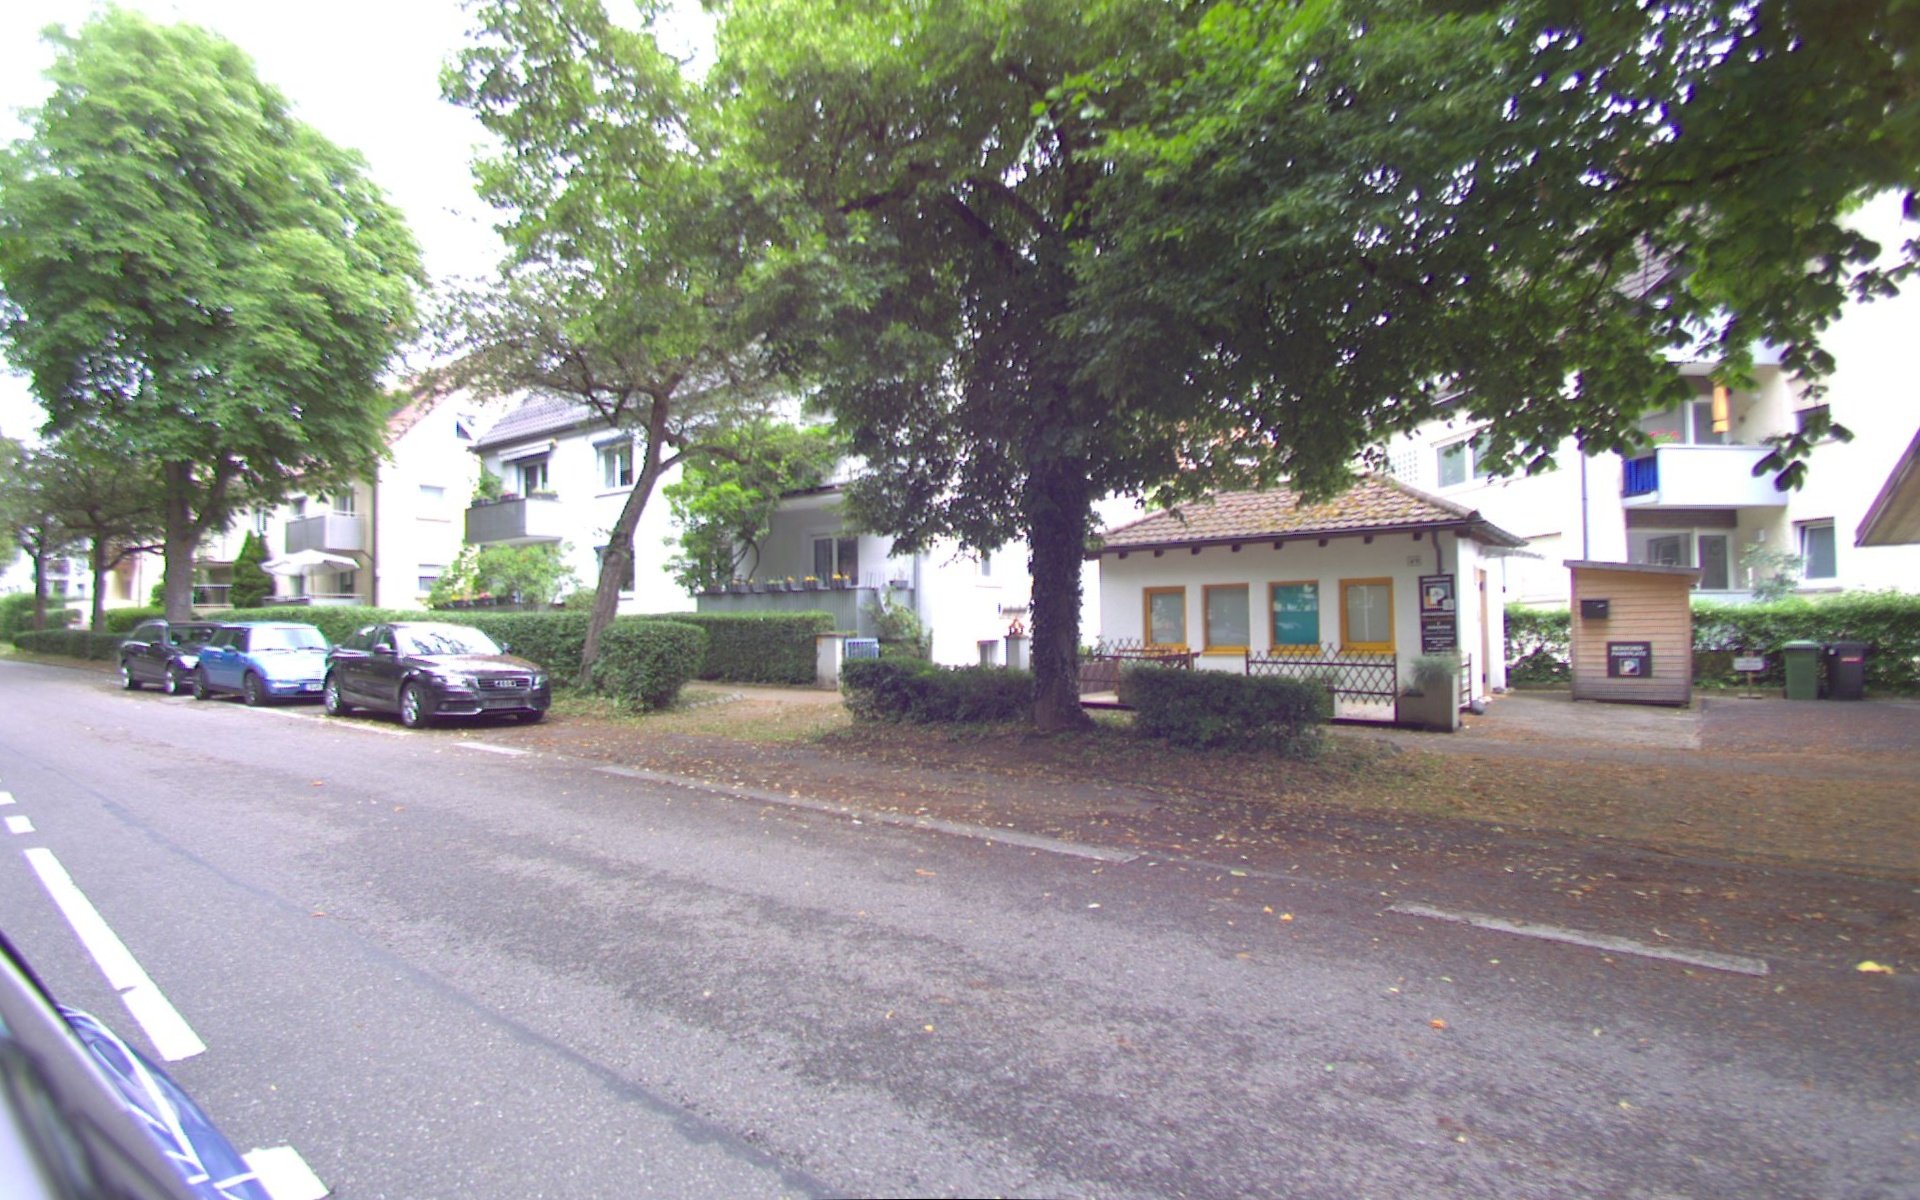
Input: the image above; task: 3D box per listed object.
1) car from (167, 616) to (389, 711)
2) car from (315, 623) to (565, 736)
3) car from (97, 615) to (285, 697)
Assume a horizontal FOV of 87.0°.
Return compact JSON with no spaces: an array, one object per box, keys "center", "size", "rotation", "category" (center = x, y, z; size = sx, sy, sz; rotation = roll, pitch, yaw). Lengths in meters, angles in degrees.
[{"center":[-12.402,1.081,18.310],"size":[4.556,1.512,1.867],"rotation":[-1,-3,36],"category":"car"},{"center":[-7.612,1.053,14.669],"size":[4.168,1.414,1.714],"rotation":[-1,-3,40],"category":"car"},{"center":[-16.166,1.134,21.204],"size":[4.556,1.545,1.867],"rotation":[-1,-3,36],"category":"car"}]
